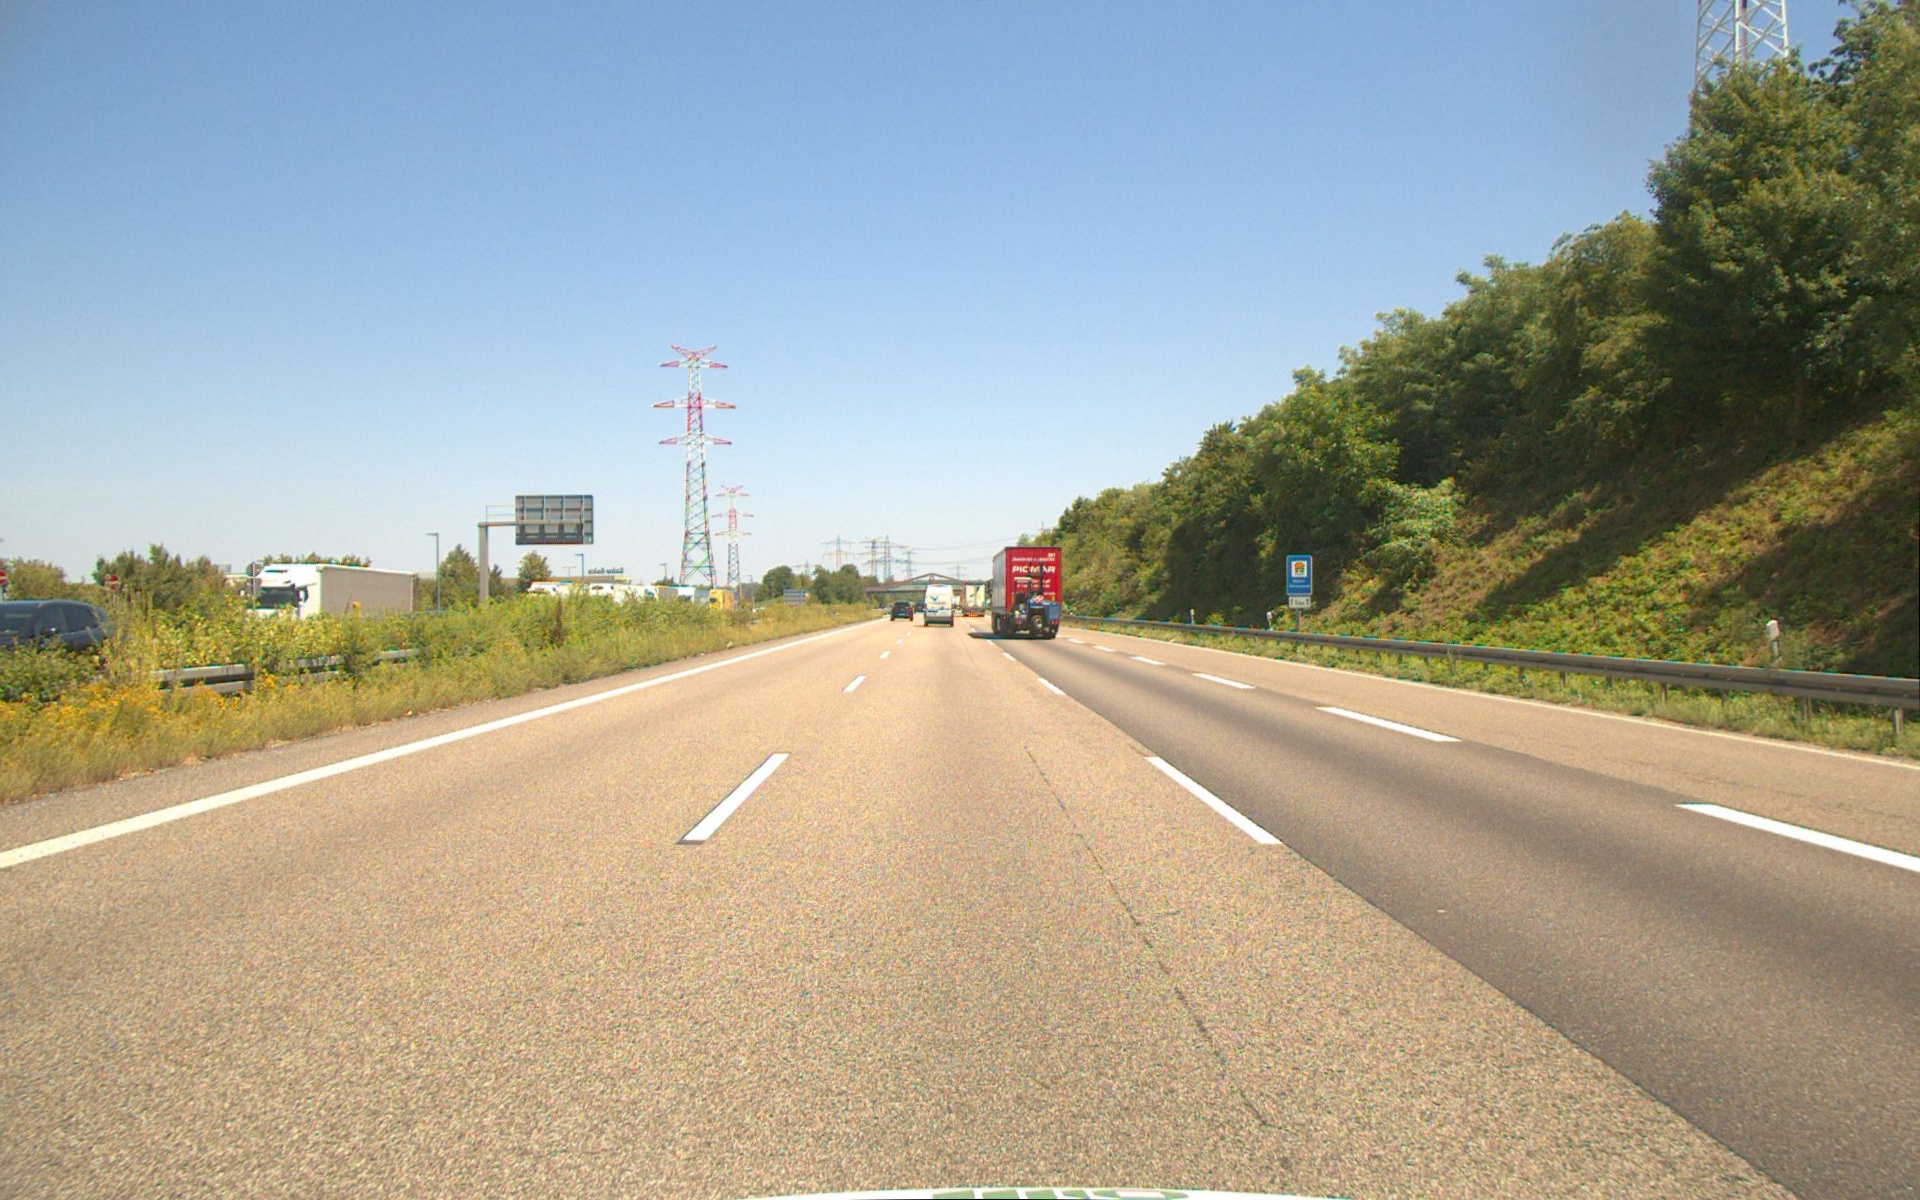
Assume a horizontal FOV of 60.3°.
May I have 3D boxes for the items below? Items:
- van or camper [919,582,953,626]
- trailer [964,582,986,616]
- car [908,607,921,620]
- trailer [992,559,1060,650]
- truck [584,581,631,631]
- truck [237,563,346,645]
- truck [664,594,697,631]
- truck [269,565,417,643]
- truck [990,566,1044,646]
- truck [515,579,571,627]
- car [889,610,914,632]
[{"bbox_3d":[-1.611,0.287,112.630,2.185,2.831,5.422,1,0,0],"label":"van or camper"},{"bbox_3d":[1.884,-0.104,208.099,2.583,4.131,12.366,1,0,1],"label":"trailer"},{"bbox_3d":[-7.152,2.091,261.399,1.931,2.047,4.196,2,0,-1],"label":"car"},{"bbox_3d":[3.020,0.246,79.103,2.440,3.978,14.242,0,0,-1],"label":"trailer"},{"bbox_3d":[-31.265,0.527,146.909,2.529,4.262,7.934,1,0,-1],"label":"truck"},{"bbox_3d":[-32.082,0.220,79.630,2.742,3.707,6.145,1,-1,-1],"label":"truck"},{"bbox_3d":[-32.660,1.423,193.557,2.792,4.144,7.087,1,-1,-2],"label":"truck"},{"bbox_3d":[-32.180,0.258,87.107,2.742,3.707,13.603,1,0,-1],"label":"truck"},{"bbox_3d":[2.923,0.307,86.413,2.448,3.988,7.095,0,-1,-1],"label":"truck"},{"bbox_3d":[-37.912,0.282,150.591,3.032,4.225,8.314,1,0,-1],"label":"truck"},{"bbox_3d":[-5.164,1.844,146.682,1.941,1.849,3.813,1,0,1],"label":"car"}]
